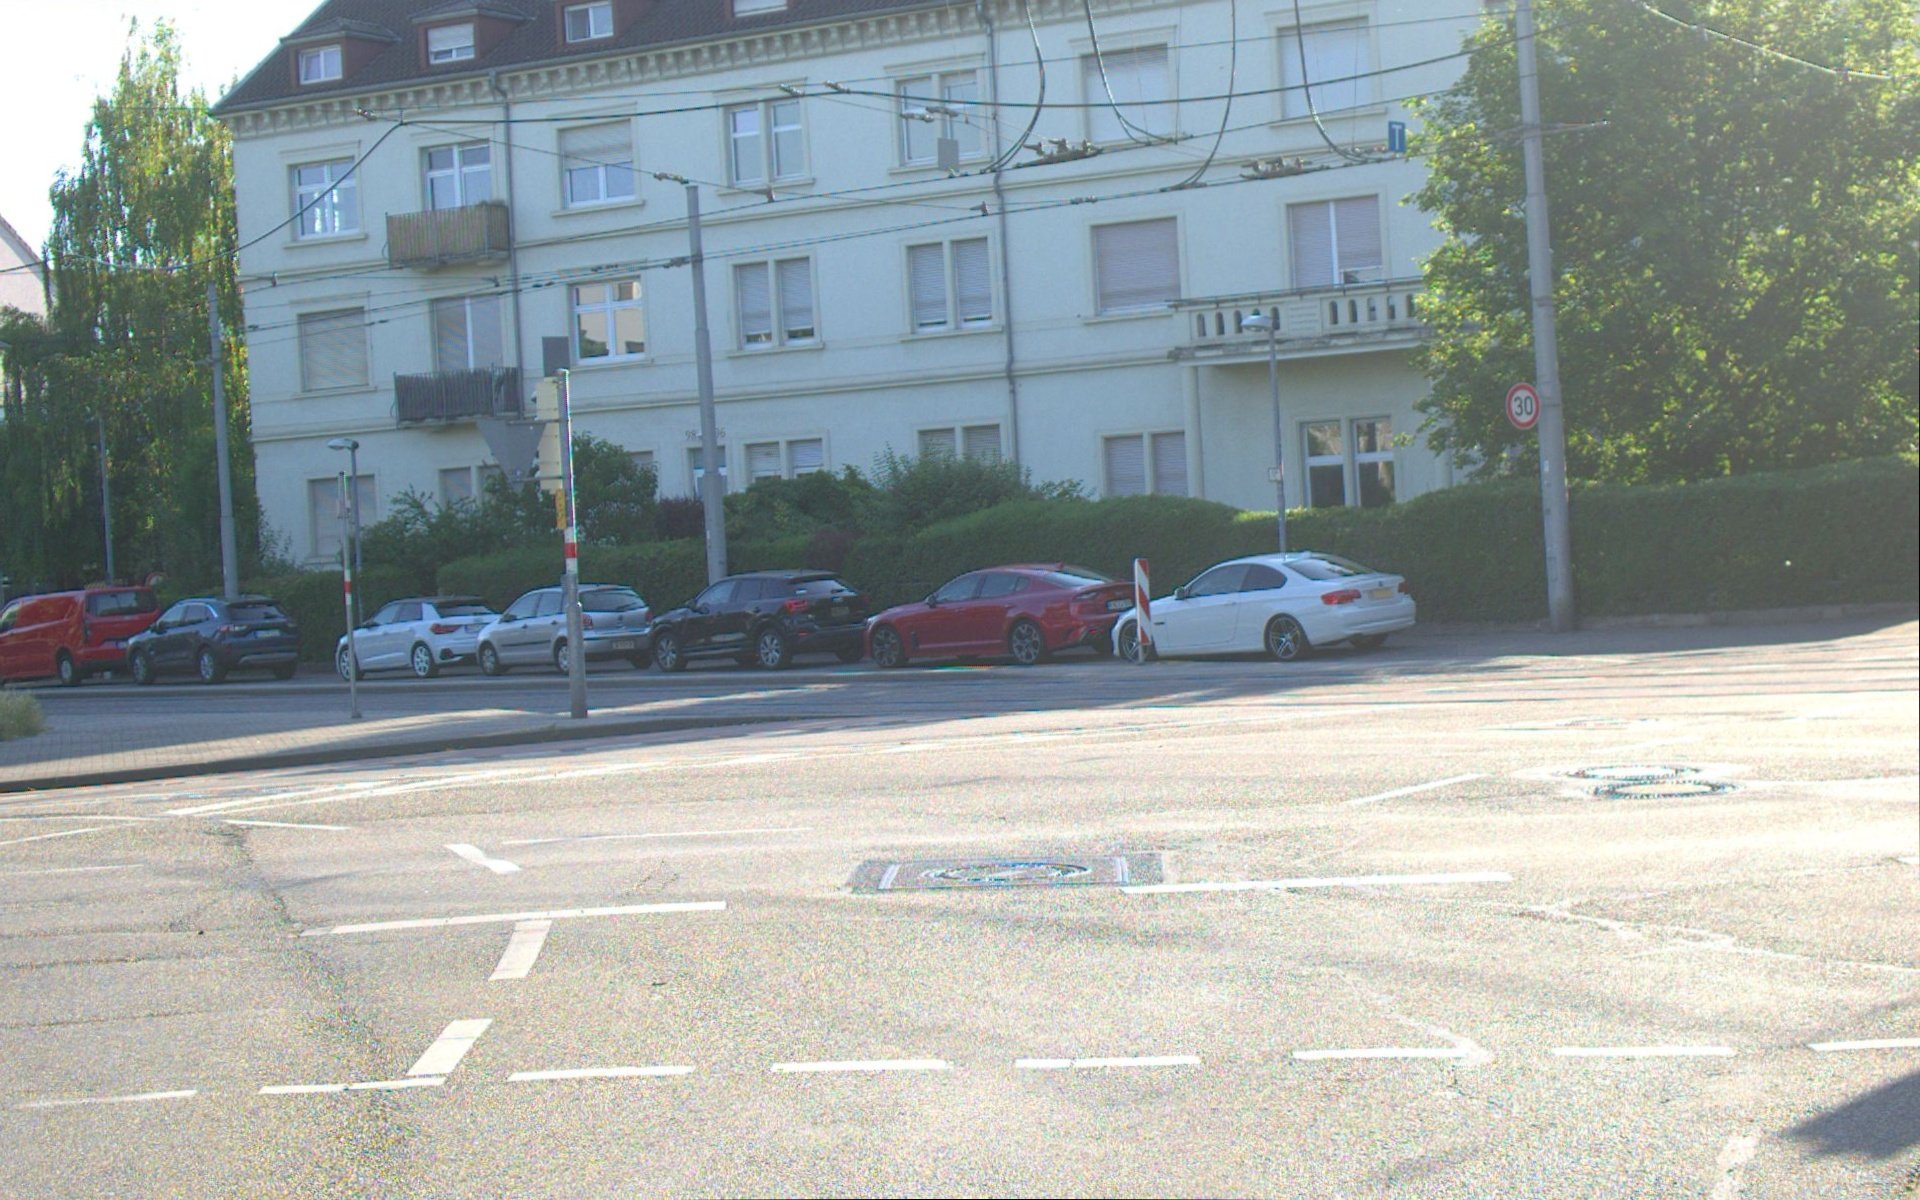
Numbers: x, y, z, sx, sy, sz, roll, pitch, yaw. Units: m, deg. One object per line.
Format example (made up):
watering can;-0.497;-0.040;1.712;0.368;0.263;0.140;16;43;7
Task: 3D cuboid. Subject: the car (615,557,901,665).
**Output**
car;-3.264;0.189;54.633;1.982;1.442;4.703;-7;3;-41

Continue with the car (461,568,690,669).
car;-6.499;0.323;57.880;1.982;1.442;3.717;-7;3;-41

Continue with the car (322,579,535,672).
car;-9.512;0.467;61.374;1.840;1.442;3.957;-7;3;-41

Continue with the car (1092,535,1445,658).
car;4.088;-0.025;46.127;1.926;1.371;4.494;-7;3;-42

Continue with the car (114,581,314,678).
car;-14.615;0.599;67.211;1.840;1.662;4.368;-7;3;-41

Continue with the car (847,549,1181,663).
car;0.747;0.102;50.124;4.702;1.371;1.982;-2;3;44

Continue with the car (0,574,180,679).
car;-18.651;0.582;72.252;2.051;1.955;5.148;-7;3;-41
